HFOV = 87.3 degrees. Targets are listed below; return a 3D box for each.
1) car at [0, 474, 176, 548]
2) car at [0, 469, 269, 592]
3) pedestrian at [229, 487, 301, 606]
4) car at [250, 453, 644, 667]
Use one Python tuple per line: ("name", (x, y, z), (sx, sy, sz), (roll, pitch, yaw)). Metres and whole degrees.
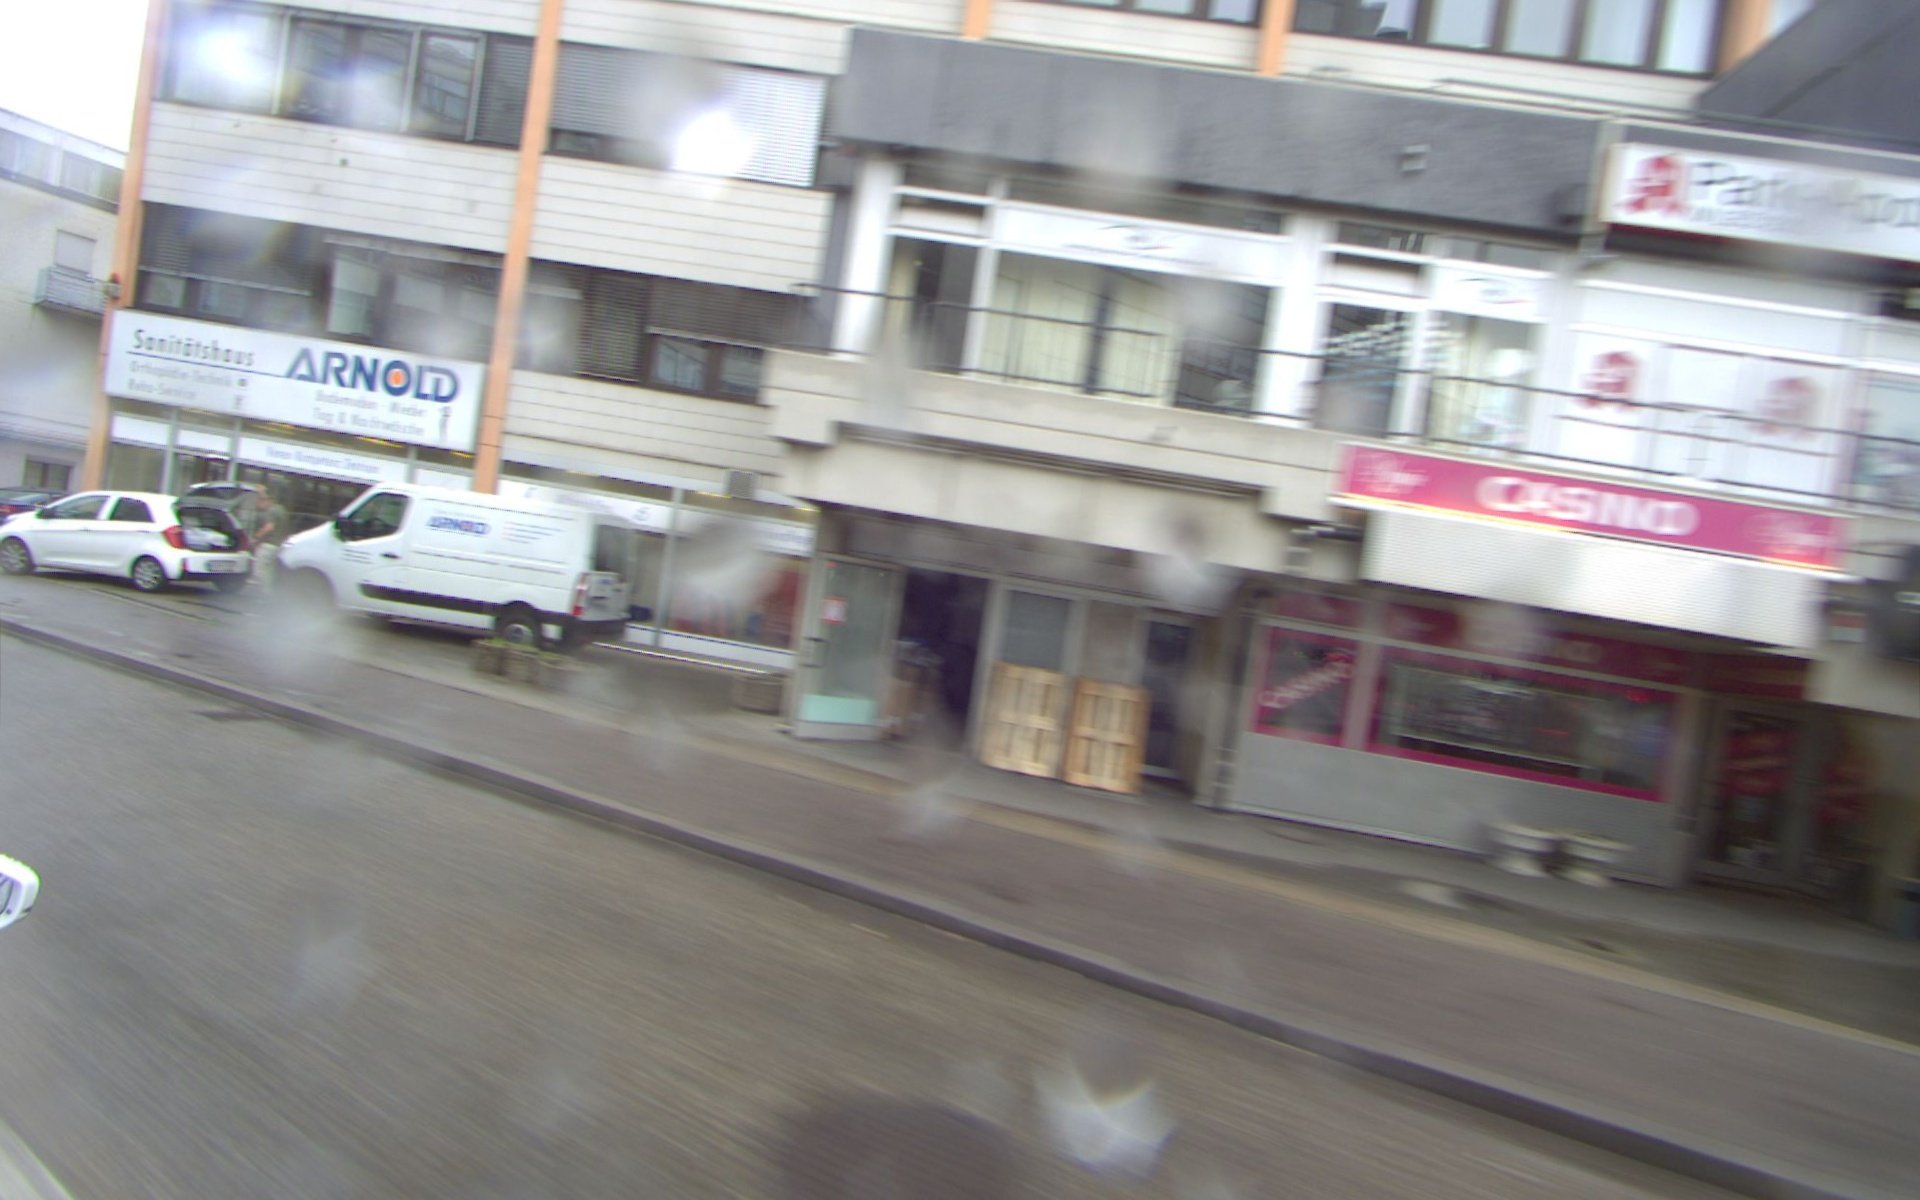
("car", (-22.699, -2.269, 25.599), (1.704, 1.429, 4.399), (8, 1, 4))
("car", (-13.350, -1.092, 16.175), (3.359, 1.480, 1.617), (7, 0, 7))
("pedestrian", (-11.128, -0.847, 16.108), (0.590, 1.789, 0.594), (9, 2, 29))
("car", (-7.698, -0.599, 15.458), (4.787, 2.237, 2.005), (10, 3, 0))
